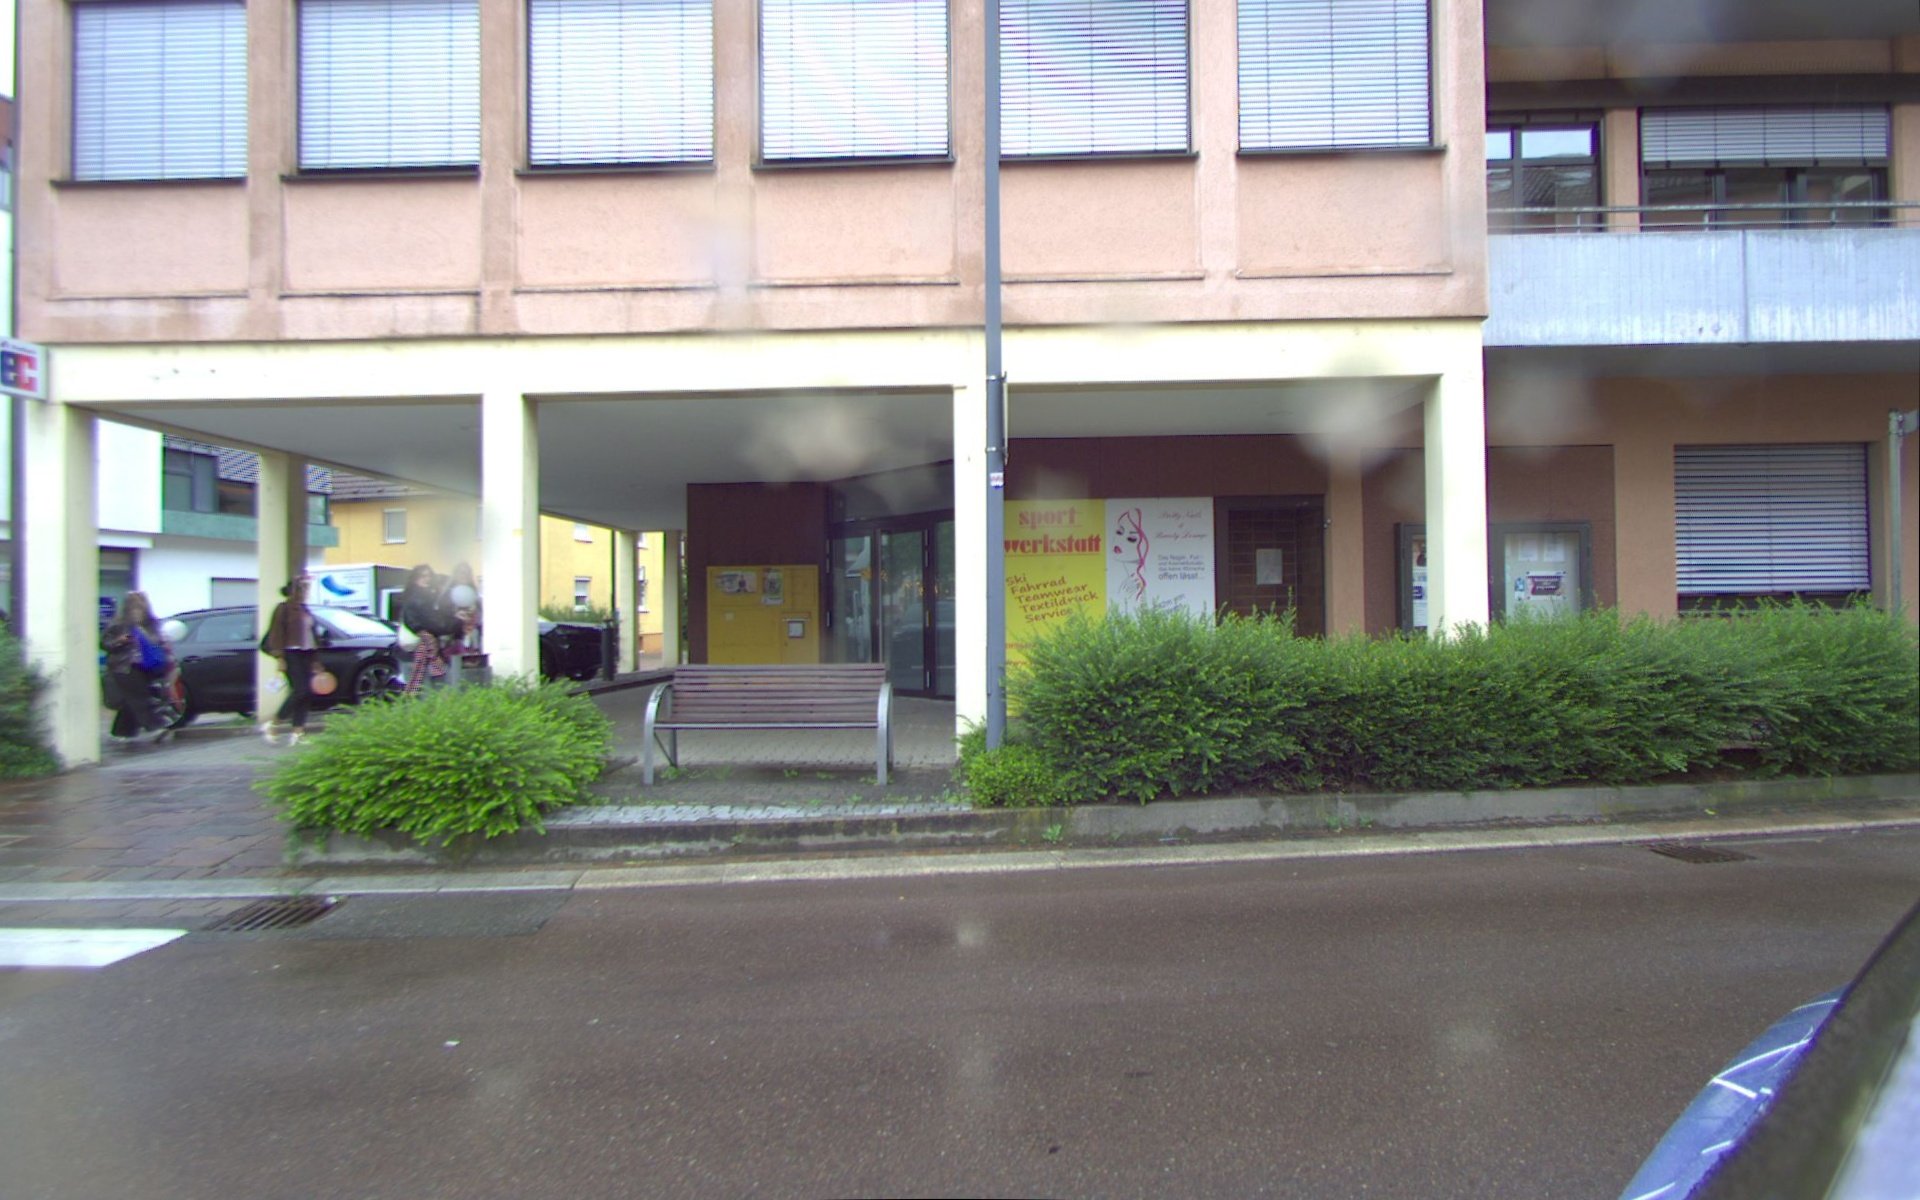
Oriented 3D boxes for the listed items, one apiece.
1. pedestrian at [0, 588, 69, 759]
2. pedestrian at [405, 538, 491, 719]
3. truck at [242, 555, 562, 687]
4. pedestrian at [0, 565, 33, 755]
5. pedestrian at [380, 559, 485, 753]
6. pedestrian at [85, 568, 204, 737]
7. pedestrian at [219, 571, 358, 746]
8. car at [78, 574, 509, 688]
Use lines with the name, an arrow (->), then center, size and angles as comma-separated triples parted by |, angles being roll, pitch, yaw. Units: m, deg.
pedestrian -> -9.534, 0.725, 10.261 | 0.511, 1.684, 0.541 | -1, 0, 5
pedestrian -> -5.087, 0.268, 10.059 | 0.718, 1.711, 0.726 | -1, 0, -28
truck -> -8.356, 0.310, 15.384 | 3.927, 1.831, 1.767 | -1, 0, 3
pedestrian -> -9.402, 0.569, 9.419 | 0.876, 1.771, 0.735 | -1, 0, 3
pedestrian -> -4.844, 0.479, 9.283 | 0.804, 1.682, 0.699 | -1, 0, -30
pedestrian -> -8.565, 0.535, 10.651 | 0.729, 1.711, 0.635 | -1, 0, 4
pedestrian -> -6.522, 0.542, 9.859 | 0.811, 1.624, 0.743 | 0, 2, 7
car -> -8.301, 0.370, 12.844 | 4.390, 1.292, 1.767 | -1, 0, 3
